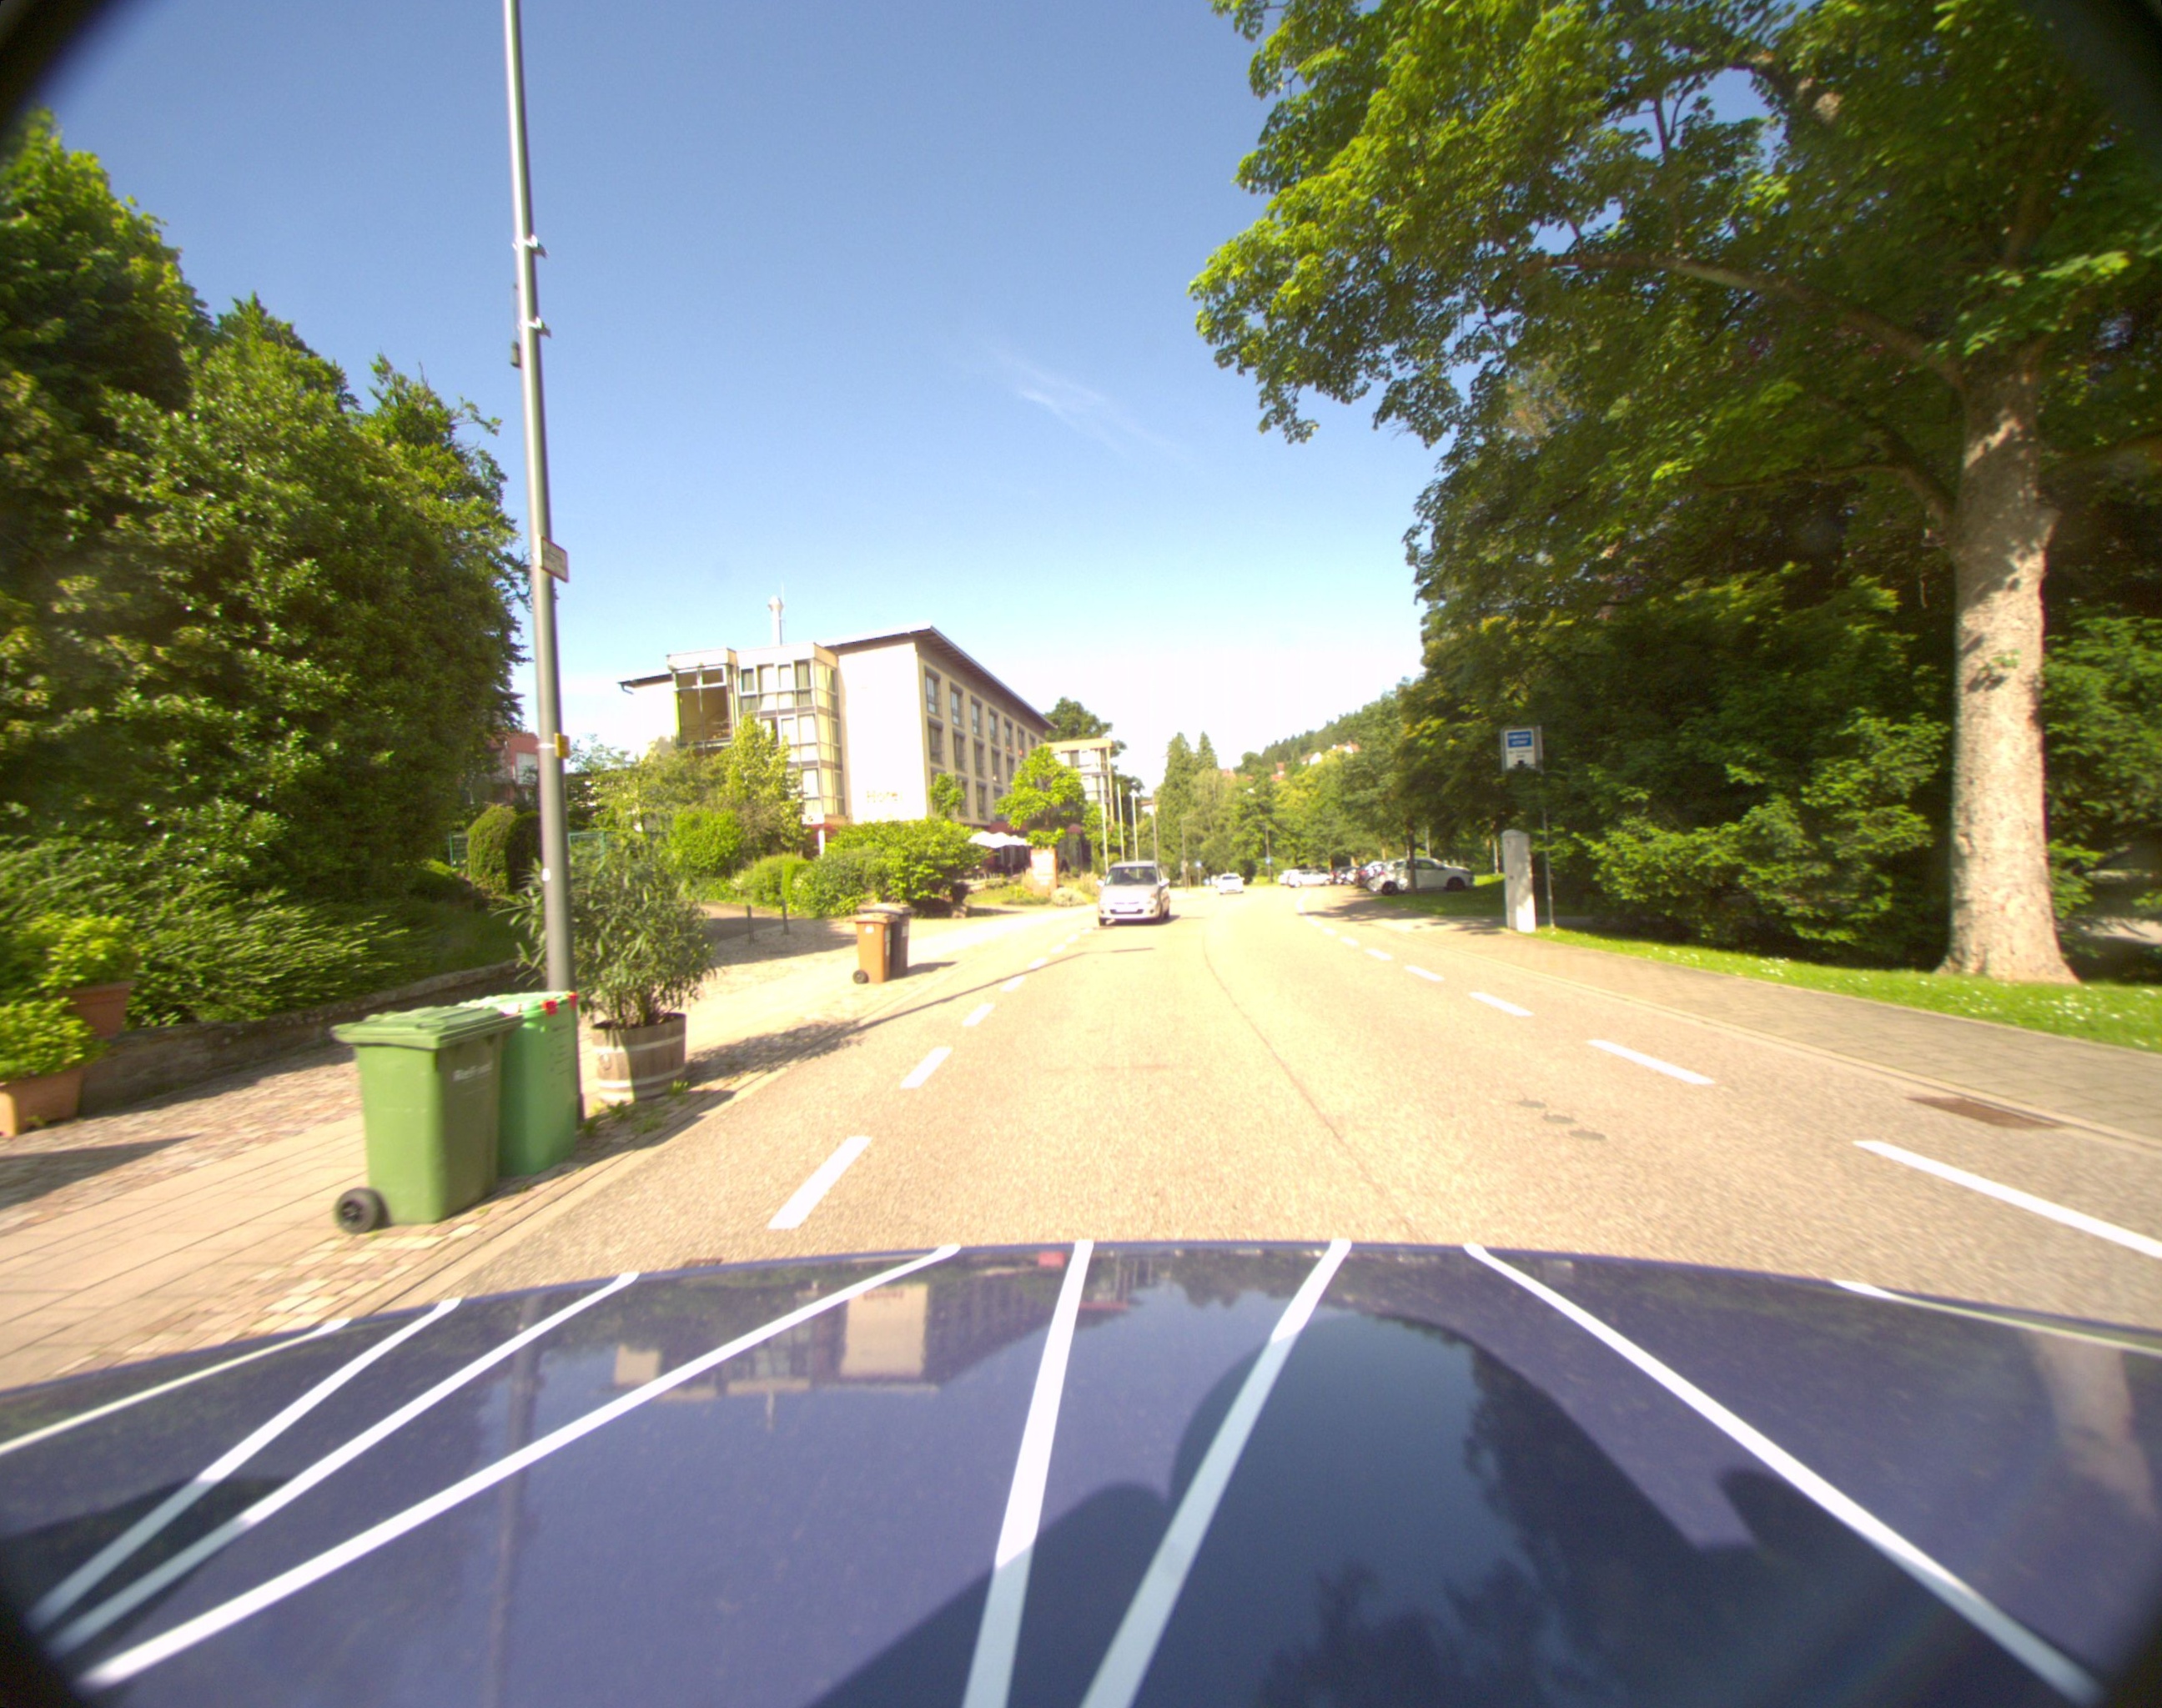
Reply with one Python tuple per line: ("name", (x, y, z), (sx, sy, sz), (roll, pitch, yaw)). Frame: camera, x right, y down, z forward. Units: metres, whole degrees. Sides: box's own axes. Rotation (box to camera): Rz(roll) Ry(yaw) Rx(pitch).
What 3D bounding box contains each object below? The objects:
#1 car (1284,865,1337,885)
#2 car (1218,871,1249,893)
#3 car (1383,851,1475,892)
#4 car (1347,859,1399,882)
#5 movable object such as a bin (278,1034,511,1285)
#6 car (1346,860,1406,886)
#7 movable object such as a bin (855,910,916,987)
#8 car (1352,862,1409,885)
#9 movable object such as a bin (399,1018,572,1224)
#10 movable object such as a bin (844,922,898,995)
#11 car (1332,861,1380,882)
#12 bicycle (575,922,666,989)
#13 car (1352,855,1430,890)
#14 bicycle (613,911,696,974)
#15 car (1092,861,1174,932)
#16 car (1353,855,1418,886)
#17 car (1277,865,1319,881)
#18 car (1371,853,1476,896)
("car", (19.595, 1.801, 64.897), (3.997, 1.388, 1.517), (-5, -2, 1))
("car", (11.098, 2.008, 55.163), (1.738, 1.488, 3.935), (-2, -1, 17))
("car", (15.319, 0.769, 33.618), (3.487, 1.542, 1.382), (-5, -2, 18))
("car", (22.325, 1.258, 58.229), (3.487, 1.417, 1.556), (-5, -2, 18))
("movable object such as a bin", (-3.072, 1.345, 3.442), (0.549, 0.920, 0.520), (-2, 0, 2))
("car", (19.366, 1.226, 50.038), (3.487, 1.417, 1.556), (-5, -2, 18))
("movable object such as a bin", (-2.787, 1.340, 10.880), (0.657, 1.026, 0.571), (-2, 0, 4))
("car", (20.636, 1.361, 52.470), (3.487, 1.293, 1.556), (-5, -2, 18))
("movable object such as a bin", (-3.070, 1.360, 3.947), (0.515, 0.907, 0.441), (-2, 0, 2))
("movable object such as a bin", (-2.843, 1.407, 10.314), (0.526, 0.906, 0.563), (-2, 0, 4))
("car", (22.056, 1.404, 61.073), (3.487, 1.417, 1.556), (-5, -2, 18))
("bicycle", (-7.061, 1.529, 11.629), (1.544, 0.904, 0.385), (0, 0, 25))
("car", (15.806, 0.963, 38.857), (3.487, 1.536, 1.446), (-5, -2, 18))
("bicycle", (-7.251, 1.482, 12.895), (1.544, 0.977, 0.385), (-1, 0, 25))
("car", (1.482, 1.042, 20.237), (1.603, 1.628, 4.003), (-2, 0, 11))
("car", (18.795, 1.007, 47.039), (3.487, 1.610, 1.382), (-5, -2, 18))
("car", (23.377, 2.038, 82.019), (3.999, 1.468, 1.516), (-3, -2, -7))
("car", (14.023, 0.829, 31.279), (3.682, 1.478, 1.568), (-5, -2, 18))
